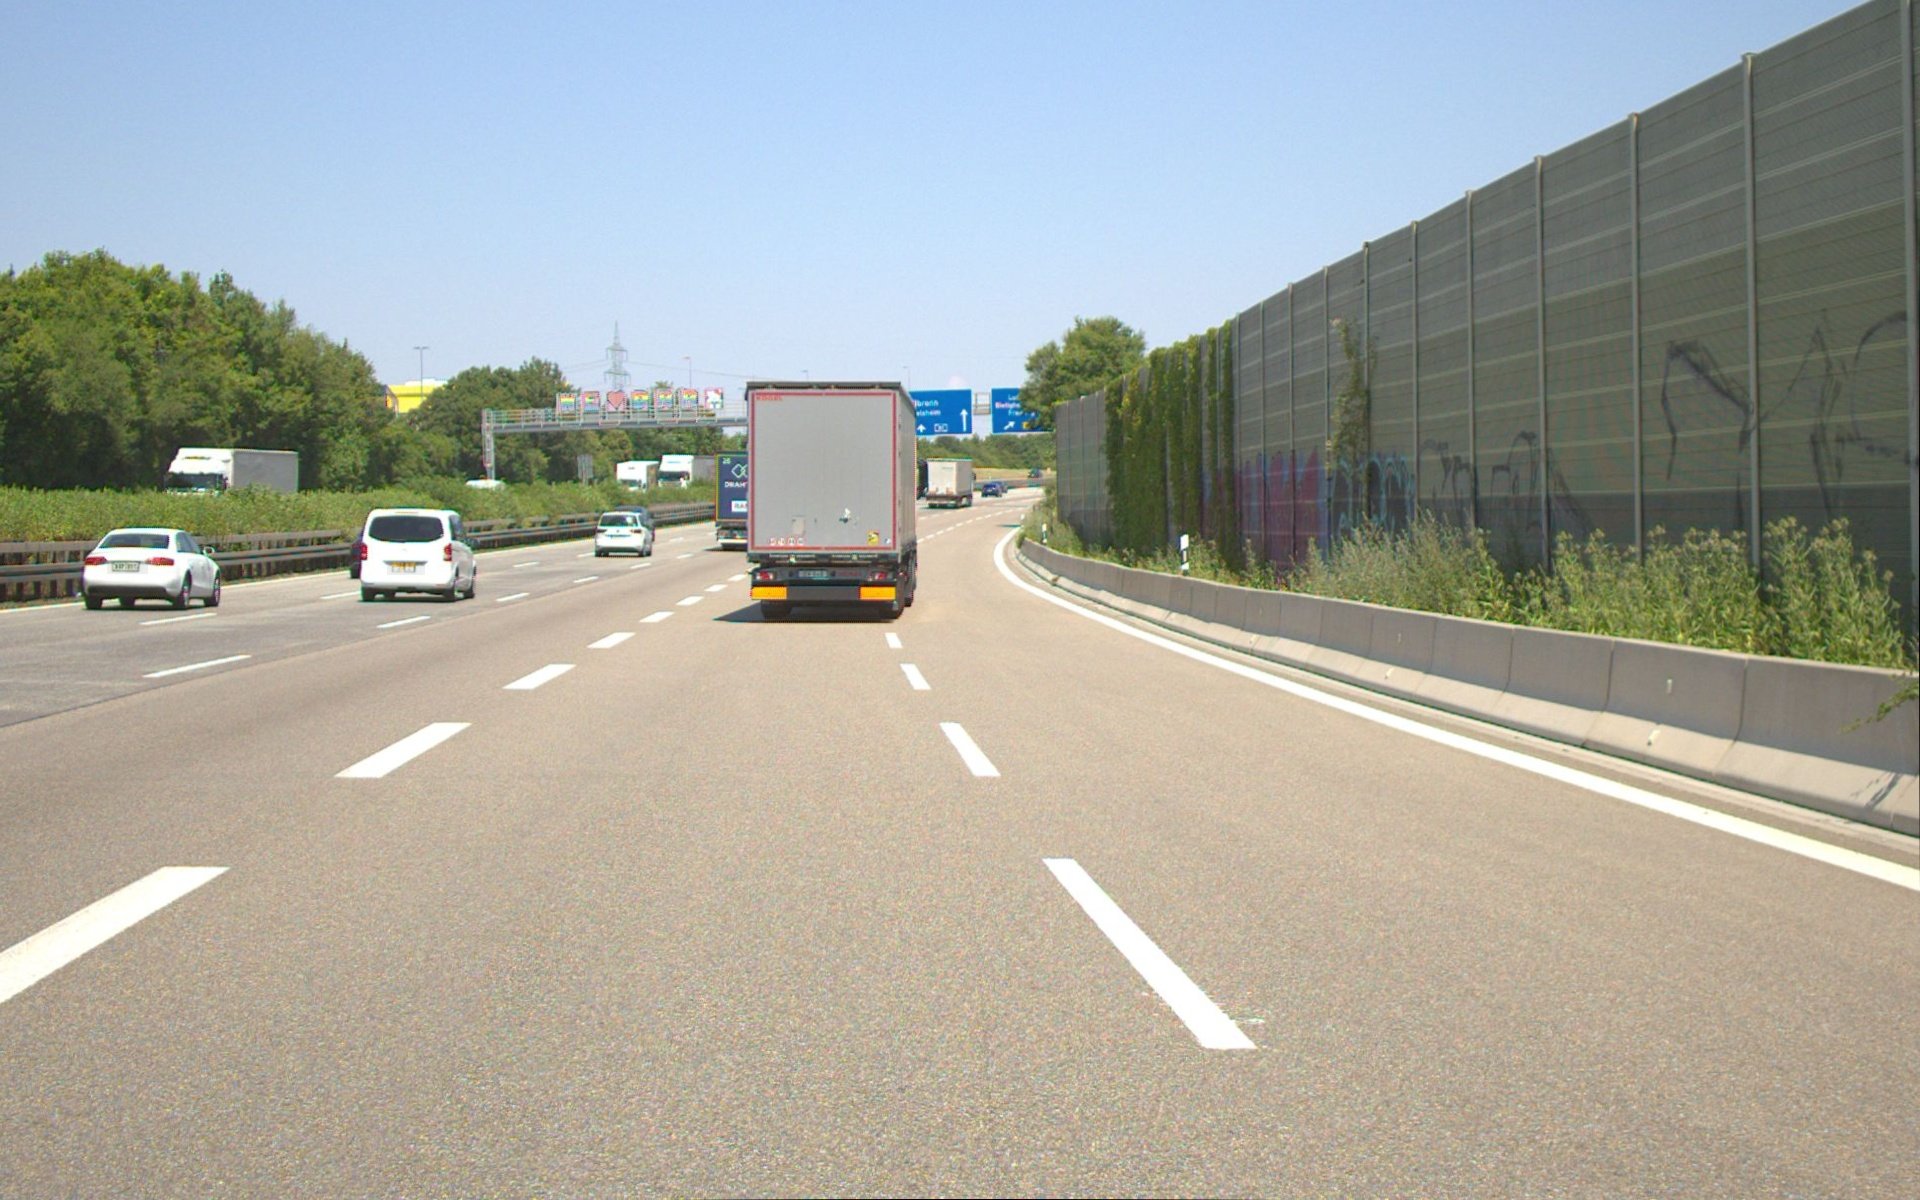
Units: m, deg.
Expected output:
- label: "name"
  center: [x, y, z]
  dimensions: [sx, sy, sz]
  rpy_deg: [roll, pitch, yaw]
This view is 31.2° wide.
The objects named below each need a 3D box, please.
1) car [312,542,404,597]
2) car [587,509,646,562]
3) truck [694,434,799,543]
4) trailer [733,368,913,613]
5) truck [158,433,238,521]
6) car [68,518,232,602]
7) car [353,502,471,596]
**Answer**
- label: "car"
  center: [-15.842, -0.780, 90.701]
  dimensions: [1.756, 1.404, 5.040]
  rpy_deg: [0, 0, -3]
- label: "car"
  center: [-12.450, -2.354, 124.910]
  dimensions: [1.904, 1.845, 4.632]
  rpy_deg: [0, 2, -3]
- label: "truck"
  center: [-8.828, -4.725, 143.741]
  dimensions: [3.747, 4.255, 14.498]
  rpy_deg: [1, 2, -1]
- label: "trailer"
  center: [-2.469, -1.923, 62.294]
  dimensions: [2.927, 4.001, 12.040]
  rpy_deg: [0, 1, -2]
- label: "truck"
  center: [-34.756, -5.587, 156.942]
  dimensions: [2.538, 3.934, 5.167]
  rpy_deg: [1, 2, -1]
- label: "car"
  center: [-14.496, -0.732, 61.780]
  dimensions: [1.876, 1.435, 5.126]
  rpy_deg: [0, 1, -2]
- label: "car"
  center: [-11.135, -1.013, 70.126]
  dimensions: [1.930, 1.845, 4.693]
  rpy_deg: [0, 0, -3]
